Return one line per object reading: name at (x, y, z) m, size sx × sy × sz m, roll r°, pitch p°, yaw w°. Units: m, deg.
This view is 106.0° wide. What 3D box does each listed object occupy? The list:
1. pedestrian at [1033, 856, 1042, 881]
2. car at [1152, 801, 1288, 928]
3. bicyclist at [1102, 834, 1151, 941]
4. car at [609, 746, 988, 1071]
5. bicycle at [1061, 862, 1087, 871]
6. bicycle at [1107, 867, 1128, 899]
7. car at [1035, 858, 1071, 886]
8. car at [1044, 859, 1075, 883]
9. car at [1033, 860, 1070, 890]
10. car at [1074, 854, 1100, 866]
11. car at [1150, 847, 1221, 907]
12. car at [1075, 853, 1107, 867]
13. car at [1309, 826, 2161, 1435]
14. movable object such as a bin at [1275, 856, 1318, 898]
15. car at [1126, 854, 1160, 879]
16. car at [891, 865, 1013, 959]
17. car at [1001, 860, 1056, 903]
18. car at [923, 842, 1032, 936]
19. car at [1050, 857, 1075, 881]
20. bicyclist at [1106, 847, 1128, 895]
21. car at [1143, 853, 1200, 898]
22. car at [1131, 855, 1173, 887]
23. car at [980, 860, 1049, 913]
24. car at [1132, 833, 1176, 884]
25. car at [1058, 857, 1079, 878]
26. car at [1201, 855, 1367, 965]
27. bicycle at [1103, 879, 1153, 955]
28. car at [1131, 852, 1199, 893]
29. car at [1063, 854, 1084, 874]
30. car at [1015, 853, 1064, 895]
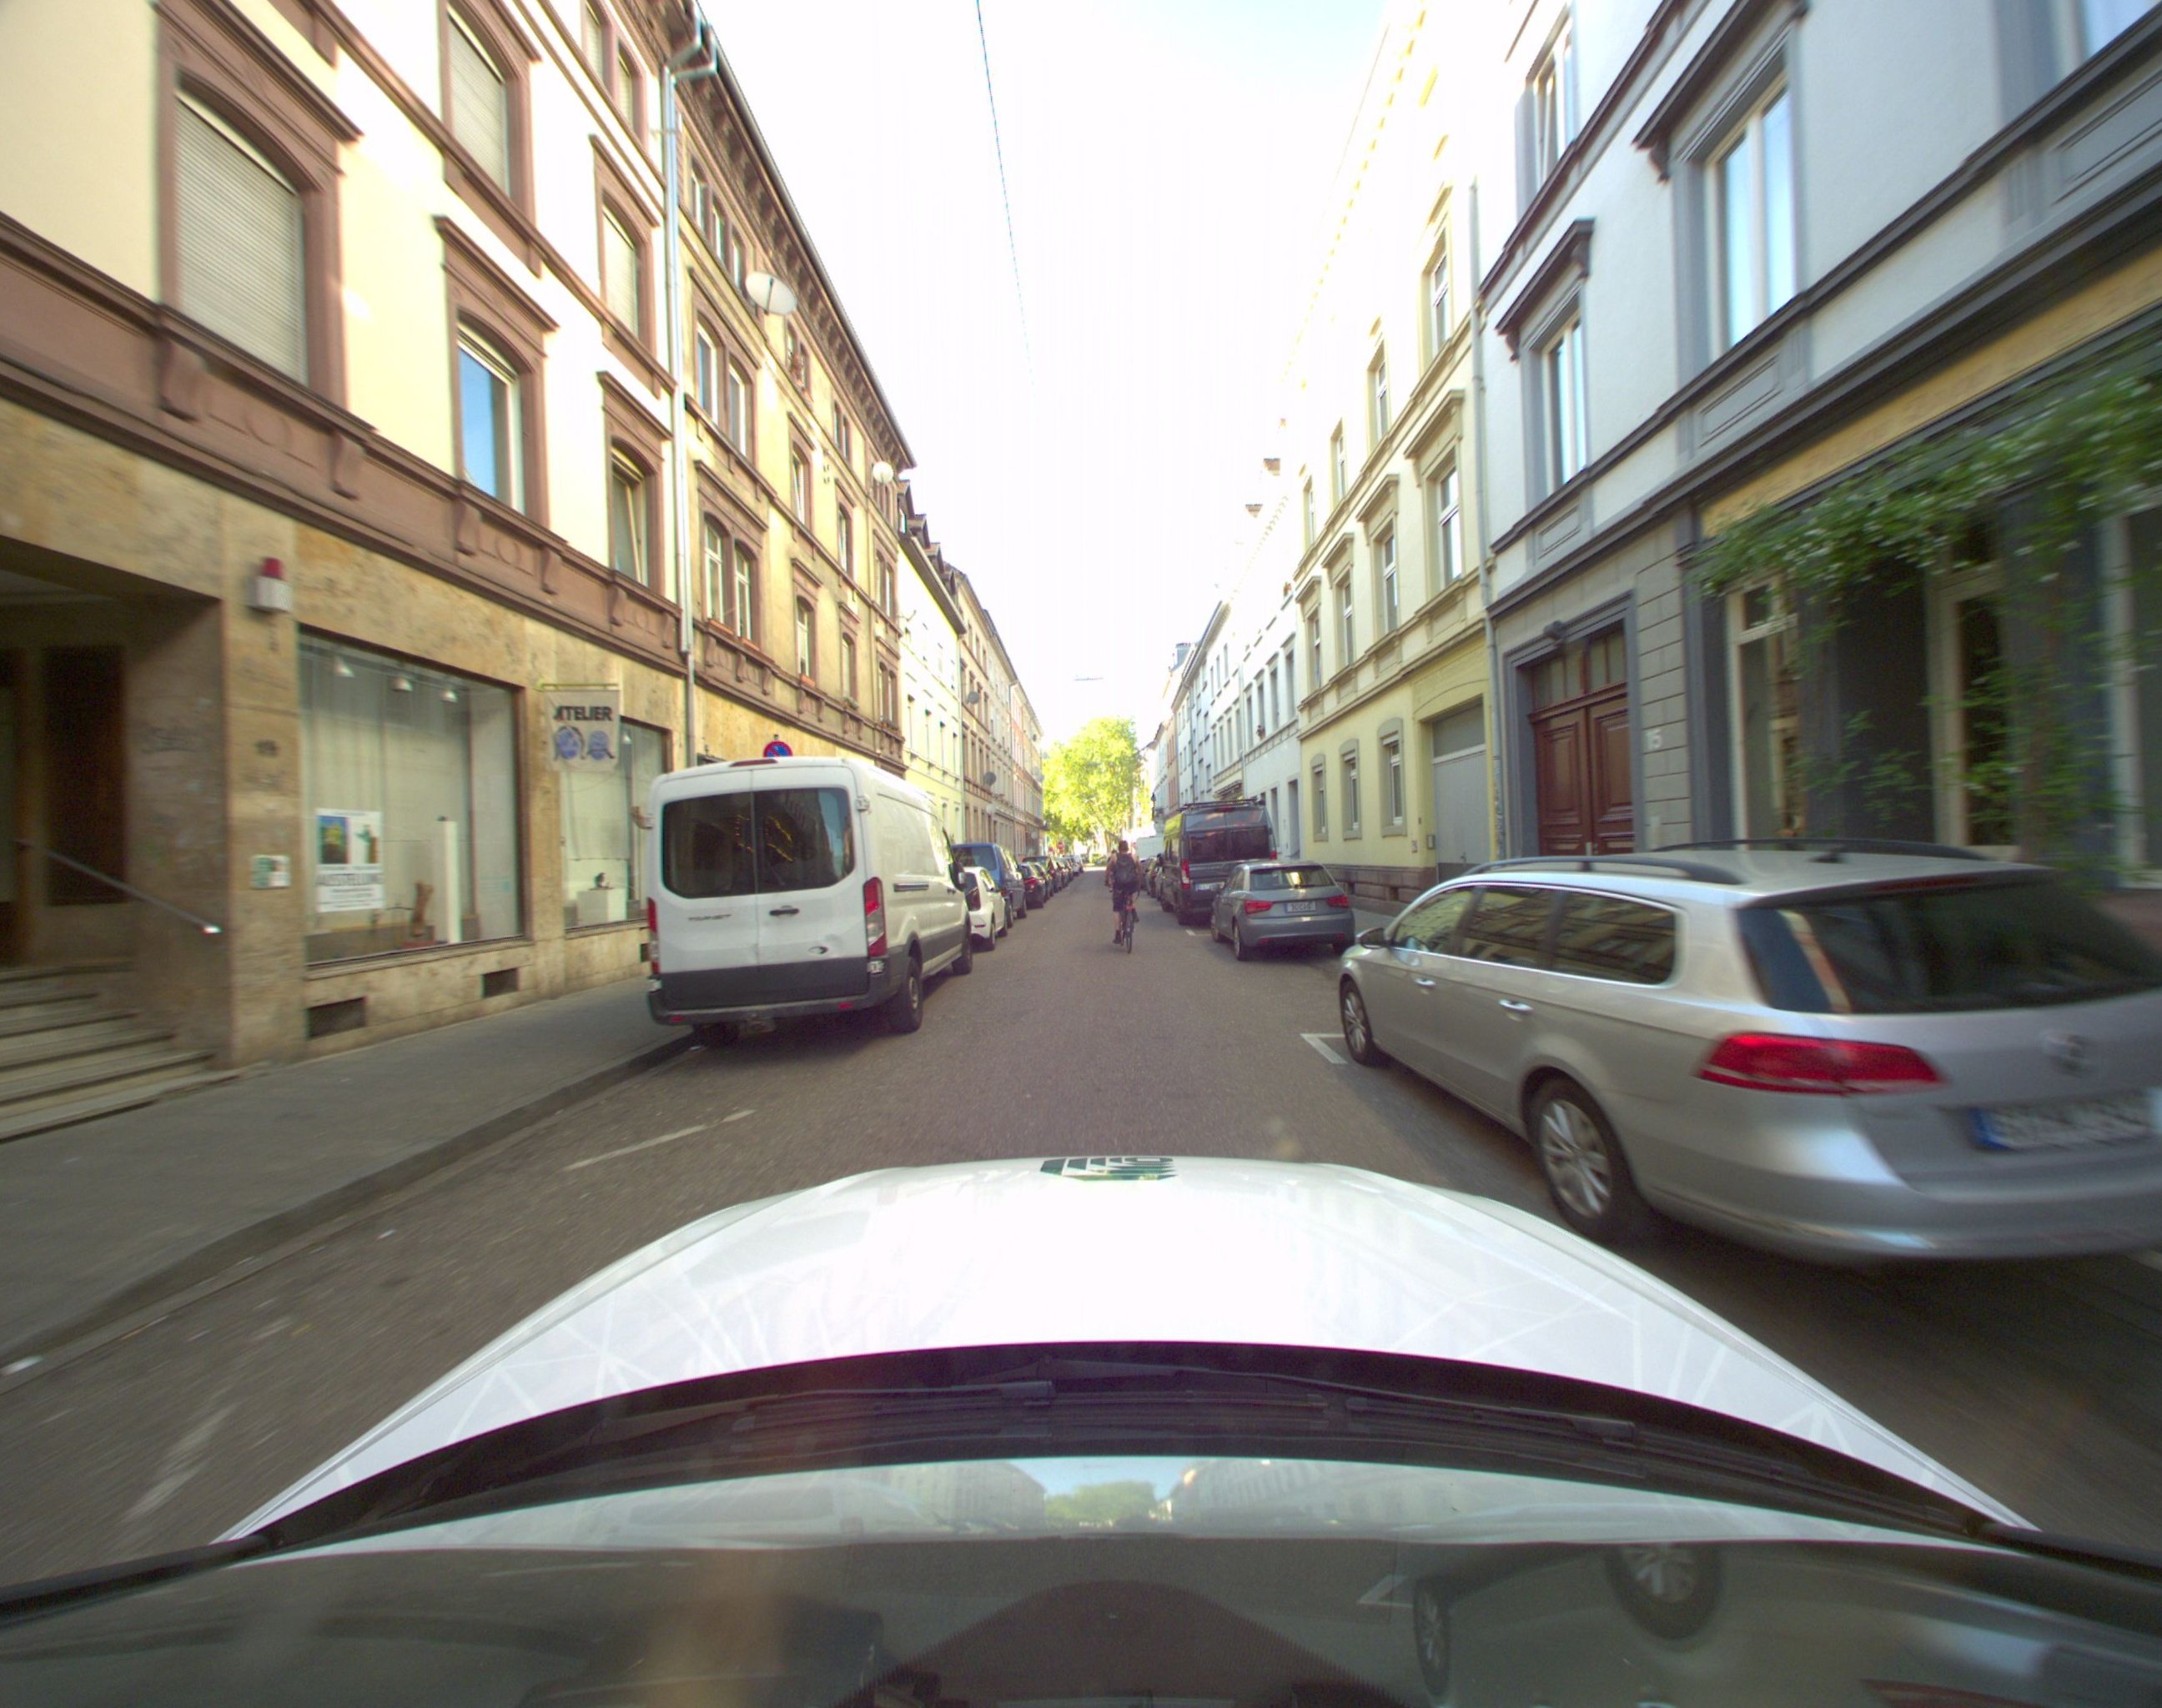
pedestrian at (-3.225, 1.093, 60.479) m, size 0.608 × 1.858 × 0.754 m, roll 0°, pitch 0°, yaw 1°
car at (3.078, 0.219, 19.605) m, size 2.167 × 2.425 × 6.310 m, roll -4°, pitch 0°, yaw 1°
bicyclist at (0.736, 0.526, 13.403) m, size 0.737 × 1.679 × 1.117 m, roll -1°, pitch 0°, yaw 1°
car at (-2.590, 0.436, 9.460) m, size 2.161 × 2.452 × 5.921 m, roll -4°, pitch 0°, yaw 0°
bicycle at (-0.773, 1.322, 86.914) m, size 2.708 × 0.892 × 0.618 m, roll -3°, pitch 0°, yaw -2°
bicycle at (1.305, 1.030, 29.100) m, size 0.661 × 1.037 × 1.959 m, roll -3°, pitch 0°, yaw 2°
car at (-1.592, 1.034, 47.777) m, size 1.666 × 1.430 × 3.892 m, roll -3°, pitch 0°, yaw 4°
car at (-1.336, 1.081, 52.834) m, size 1.700 × 1.414 × 4.303 m, roll -3°, pitch 0°, yaw 1°
car at (-1.527, 1.069, 42.797) m, size 1.585 × 1.440 × 3.656 m, roll -3°, pitch 0°, yaw 2°
car at (1.050, 1.041, 142.121) m, size 4.459 × 1.696 × 1.864 m, roll -3°, pitch 0°, yaw -3°
car at (3.246, 0.680, 26.101) m, size 1.688 × 1.608 × 4.375 m, roll -4°, pitch 0°, yaw 1°
car at (1.417, 0.843, 116.521) m, size 4.459 × 1.759 × 1.864 m, roll -3°, pitch 0°, yaw -3°
car at (2.795, 0.720, 4.418) m, size 1.780 × 1.454 × 4.547 m, roll -5°, pitch 0°, yaw 1°
movable object such as a bin at (5.767, 0.608, 21.843) m, size 0.860 × 1.042 × 0.708 m, roll -6°, pitch 0°, yaw -1°
car at (3.979, 0.781, 52.660) m, size 1.726 × 1.470 × 4.019 m, roll -3°, pitch 0°, yaw -1°
car at (-2.311, 0.995, 15.510) m, size 1.640 × 1.447 × 3.839 m, roll -3°, pitch 0°, yaw 0°
car at (-1.992, 1.027, 31.862) m, size 1.730 × 1.427 × 4.001 m, roll -3°, pitch 0°, yaw 2°
car at (-2.400, 0.769, 20.110) m, size 1.821 × 1.891 × 4.615 m, roll -5°, pitch 0°, yaw 2°
car at (-1.261, 1.036, 57.795) m, size 1.600 × 1.530 × 3.378 m, roll -4°, pitch 0°, yaw 0°
bicyclist at (1.280, 0.586, 29.070) m, size 0.667 × 1.658 × 0.877 m, roll -3°, pitch 0°, yaw 1°
car at (3.355, 0.769, 30.852) m, size 1.740 × 1.485 × 4.244 m, roll -3°, pitch 0°, yaw 1°
car at (3.510, 0.792, 40.689) m, size 1.719 × 1.429 × 3.832 m, roll -3°, pitch 0°, yaw 0°
car at (-2.078, 0.989, 26.799) m, size 1.856 × 1.440 × 4.644 m, roll -3°, pitch 0°, yaw -1°
car at (4.078, 0.240, 46.129) m, size 2.195 × 2.550 × 6.042 m, roll -3°, pitch 0°, yaw 4°
car at (-0.988, 1.027, 65.169) m, size 1.540 × 1.550 × 3.463 m, roll -3°, pitch 0°, yaw -2°
car at (3.098, 0.776, 13.296) m, size 1.741 × 1.444 × 4.173 m, roll -2°, pitch 0°, yaw 2°
bicycle at (0.749, 1.002, 13.551) m, size 0.737 × 1.100 × 2.042 m, roll -1°, pitch 0°, yaw 1°
car at (3.569, 0.757, 35.635) m, size 1.810 × 1.478 × 4.595 m, roll -6°, pitch 1°, yaw -8°
car at (-0.652, 0.911, 77.371) m, size 1.781 × 1.737 × 3.877 m, roll -3°, pitch 0°, yaw 1°
car at (-1.861, 0.906, 37.822) m, size 1.794 × 1.698 × 4.001 m, roll -5°, pitch 0°, yaw 1°
